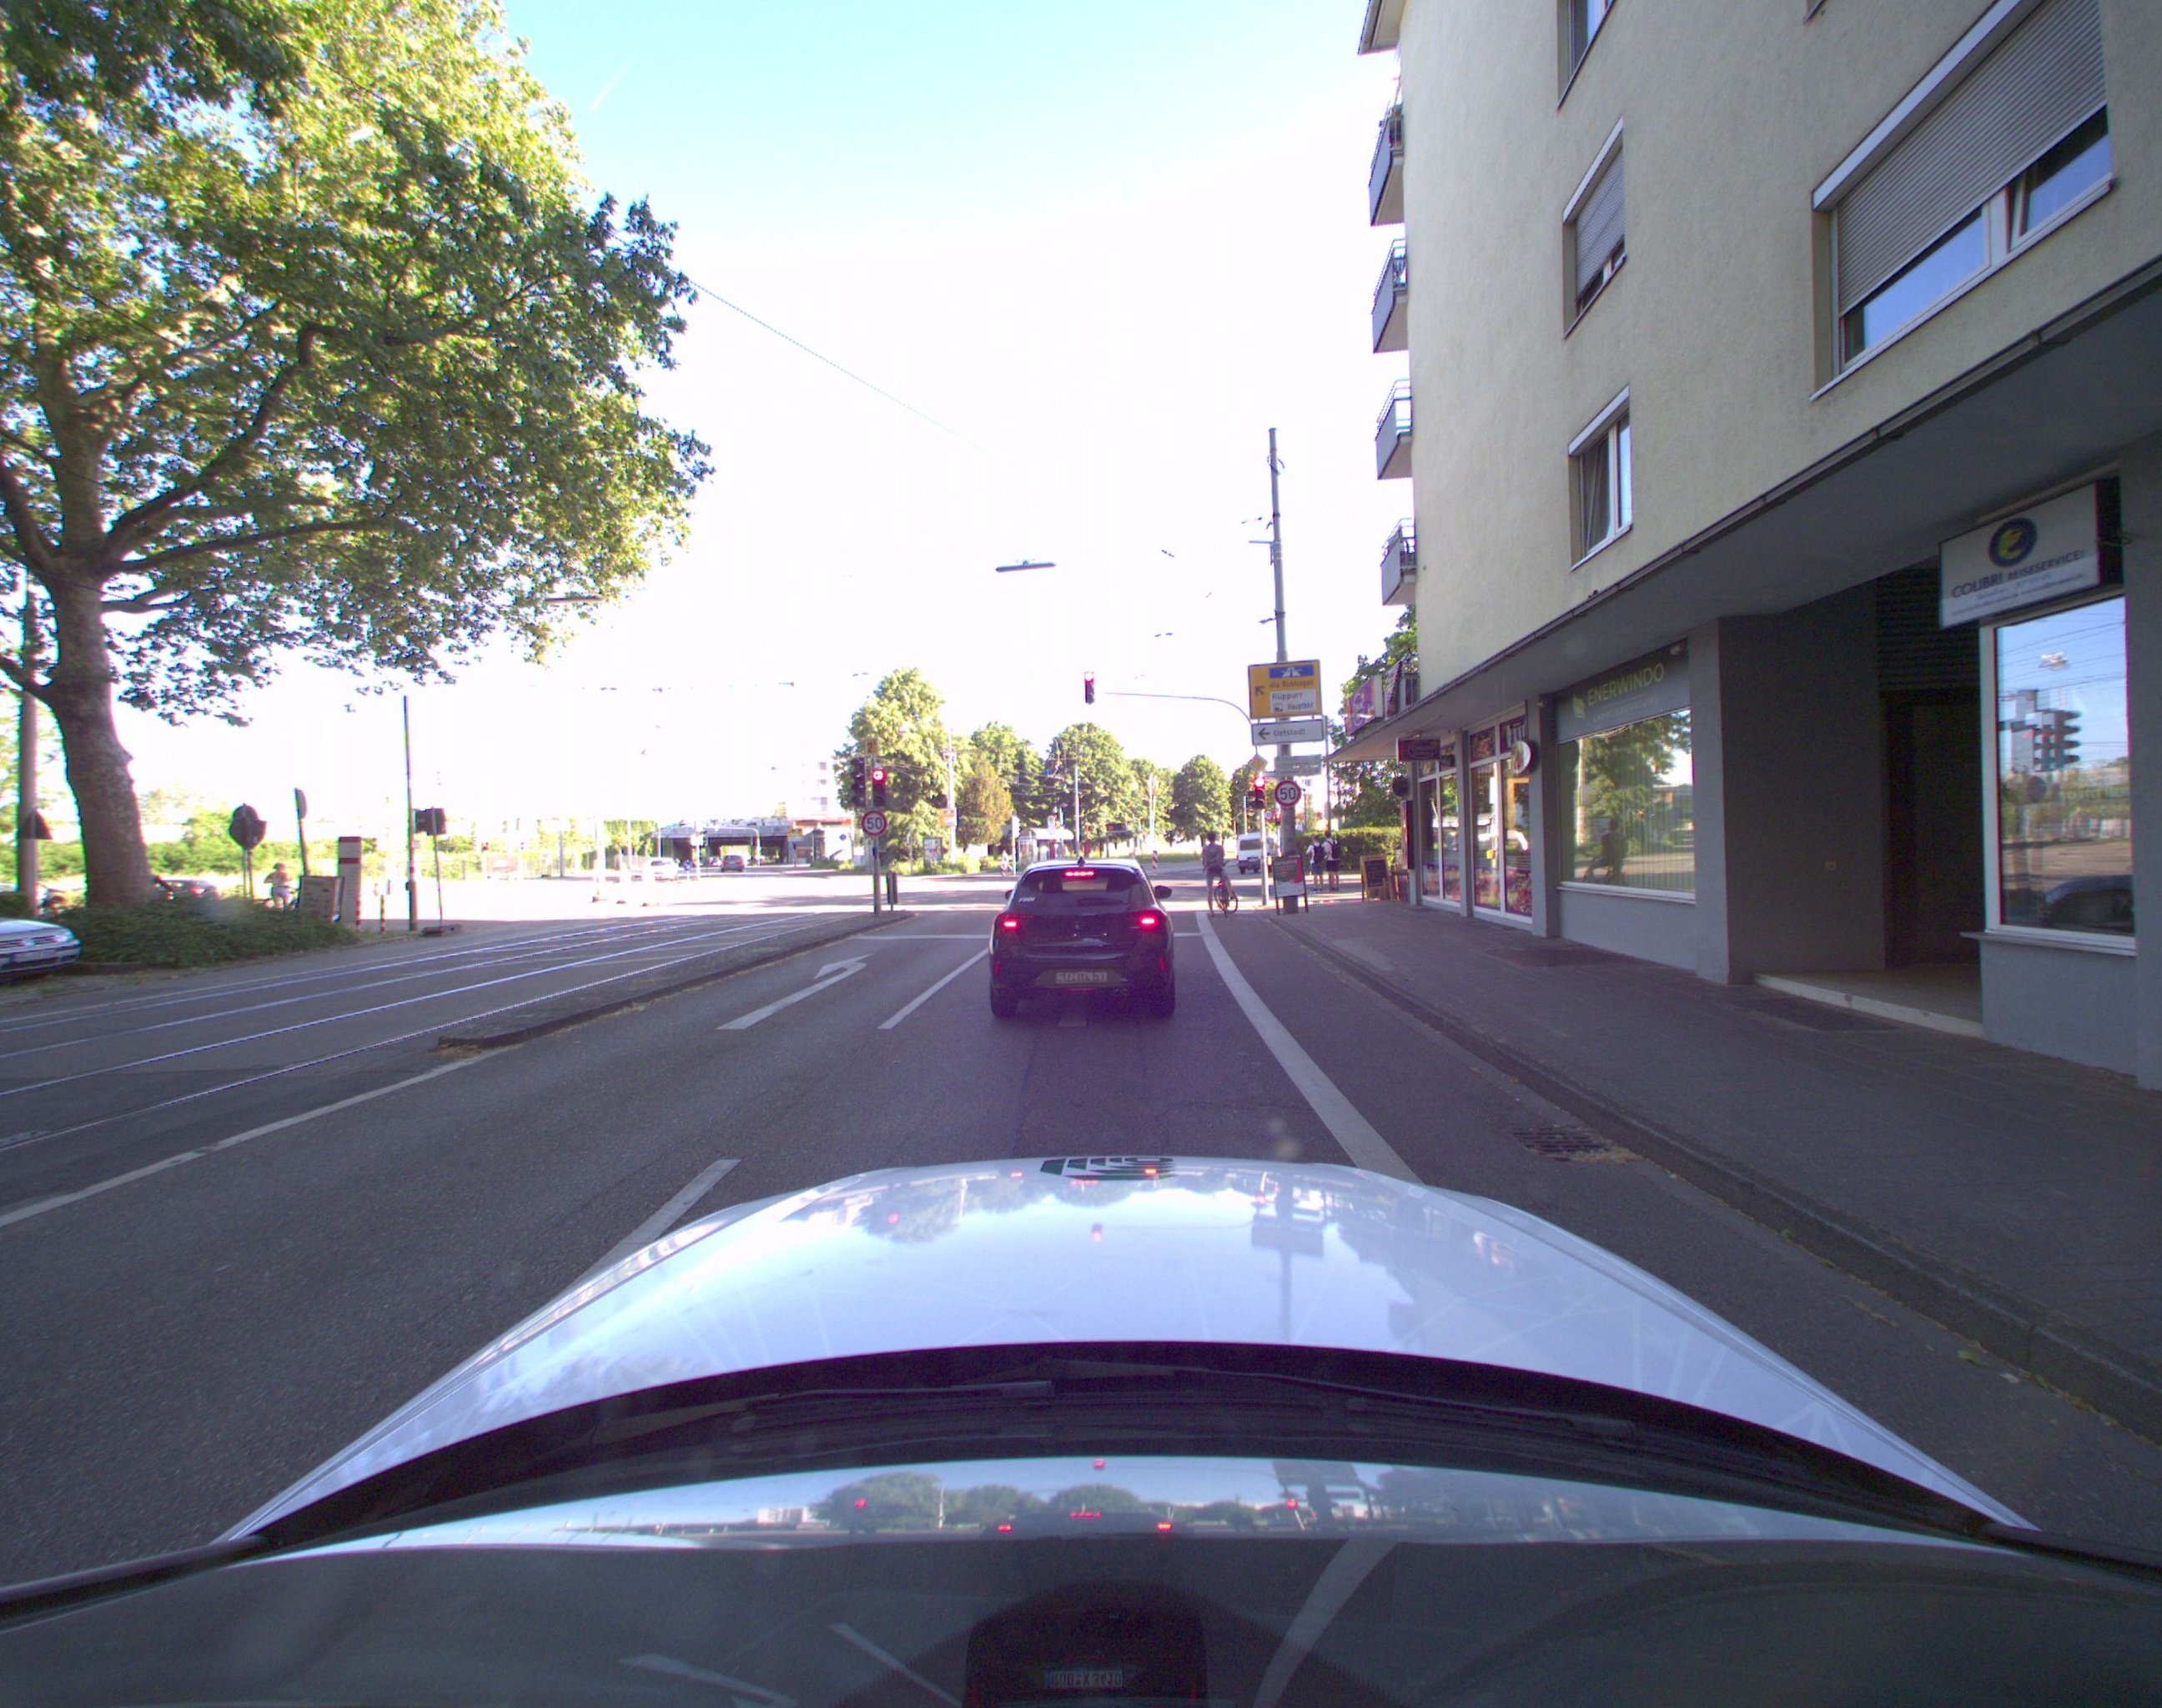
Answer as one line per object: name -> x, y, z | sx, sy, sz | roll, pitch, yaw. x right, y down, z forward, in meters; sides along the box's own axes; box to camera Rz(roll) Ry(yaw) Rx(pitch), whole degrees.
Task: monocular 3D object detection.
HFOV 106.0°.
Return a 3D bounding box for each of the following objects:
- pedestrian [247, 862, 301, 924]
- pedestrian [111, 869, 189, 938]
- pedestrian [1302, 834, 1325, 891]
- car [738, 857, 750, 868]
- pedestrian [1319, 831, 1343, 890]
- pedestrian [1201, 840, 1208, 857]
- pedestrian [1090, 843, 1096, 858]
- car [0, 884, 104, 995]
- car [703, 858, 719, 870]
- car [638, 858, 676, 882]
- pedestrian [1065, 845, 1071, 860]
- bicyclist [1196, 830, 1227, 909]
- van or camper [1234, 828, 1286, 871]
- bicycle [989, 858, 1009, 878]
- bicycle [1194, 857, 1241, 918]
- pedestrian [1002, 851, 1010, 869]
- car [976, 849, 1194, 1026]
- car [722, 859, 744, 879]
pedestrian -> -22.271, 1.052, 22.486 | 0.776, 1.661, 0.947 | 0, -1, -25
pedestrian -> -23.004, 1.199, 20.145 | 0.842, 1.647, 0.931 | 0, -1, 1
pedestrian -> 7.292, 0.275, 25.548 | 0.627, 1.763, 0.585 | -1, -1, 22
car -> -54.297, 1.409, 131.190 | 1.761, 1.684, 3.713 | 0, -1, -22
pedestrian -> 7.801, 0.198, 25.425 | 0.627, 1.820, 0.749 | -1, -1, 22
pedestrian -> 13.594, -0.575, 89.867 | 0.604, 1.872, 0.517 | 0, -1, -11
pedestrian -> 1.523, -0.399, 100.359 | 0.616, 1.872, 0.521 | -1, -1, 9
car -> -16.626, 1.196, 11.337 | 3.957, 1.453, 1.670 | -1, 0, -1
car -> -51.407, 1.362, 113.220 | 1.892, 1.585, 3.809 | 0, -1, -21
car -> -29.232, 1.071, 56.243 | 1.892, 1.585, 3.809 | 0, -1, -21
pedestrian -> -1.650, -0.231, 103.945 | 0.736, 1.872, 0.661 | 0, -1, -4
bicyclist -> 2.856, 0.333, 17.818 | 0.529, 1.692, 0.571 | -2, 0, 19
van or camper -> 10.193, -0.221, 46.203 | 2.011, 2.310, 4.565 | -1, -1, 23
bicycle -> -4.667, 0.769, 46.458 | 0.793, 1.064, 2.186 | -2, 0, 2
bicycle -> 3.042, 0.714, 17.998 | 0.747, 1.235, 2.024 | -2, 0, 16
pedestrian -> -6.109, 0.468, 66.477 | 0.568, 1.472, 0.665 | -2, 0, 0
car -> 0.096, 0.702, 8.925 | 1.833, 1.462, 3.985 | -1, 0, 2
car -> -35.010, 1.472, 82.008 | 1.916, 1.881, 4.811 | -2, 0, -21
